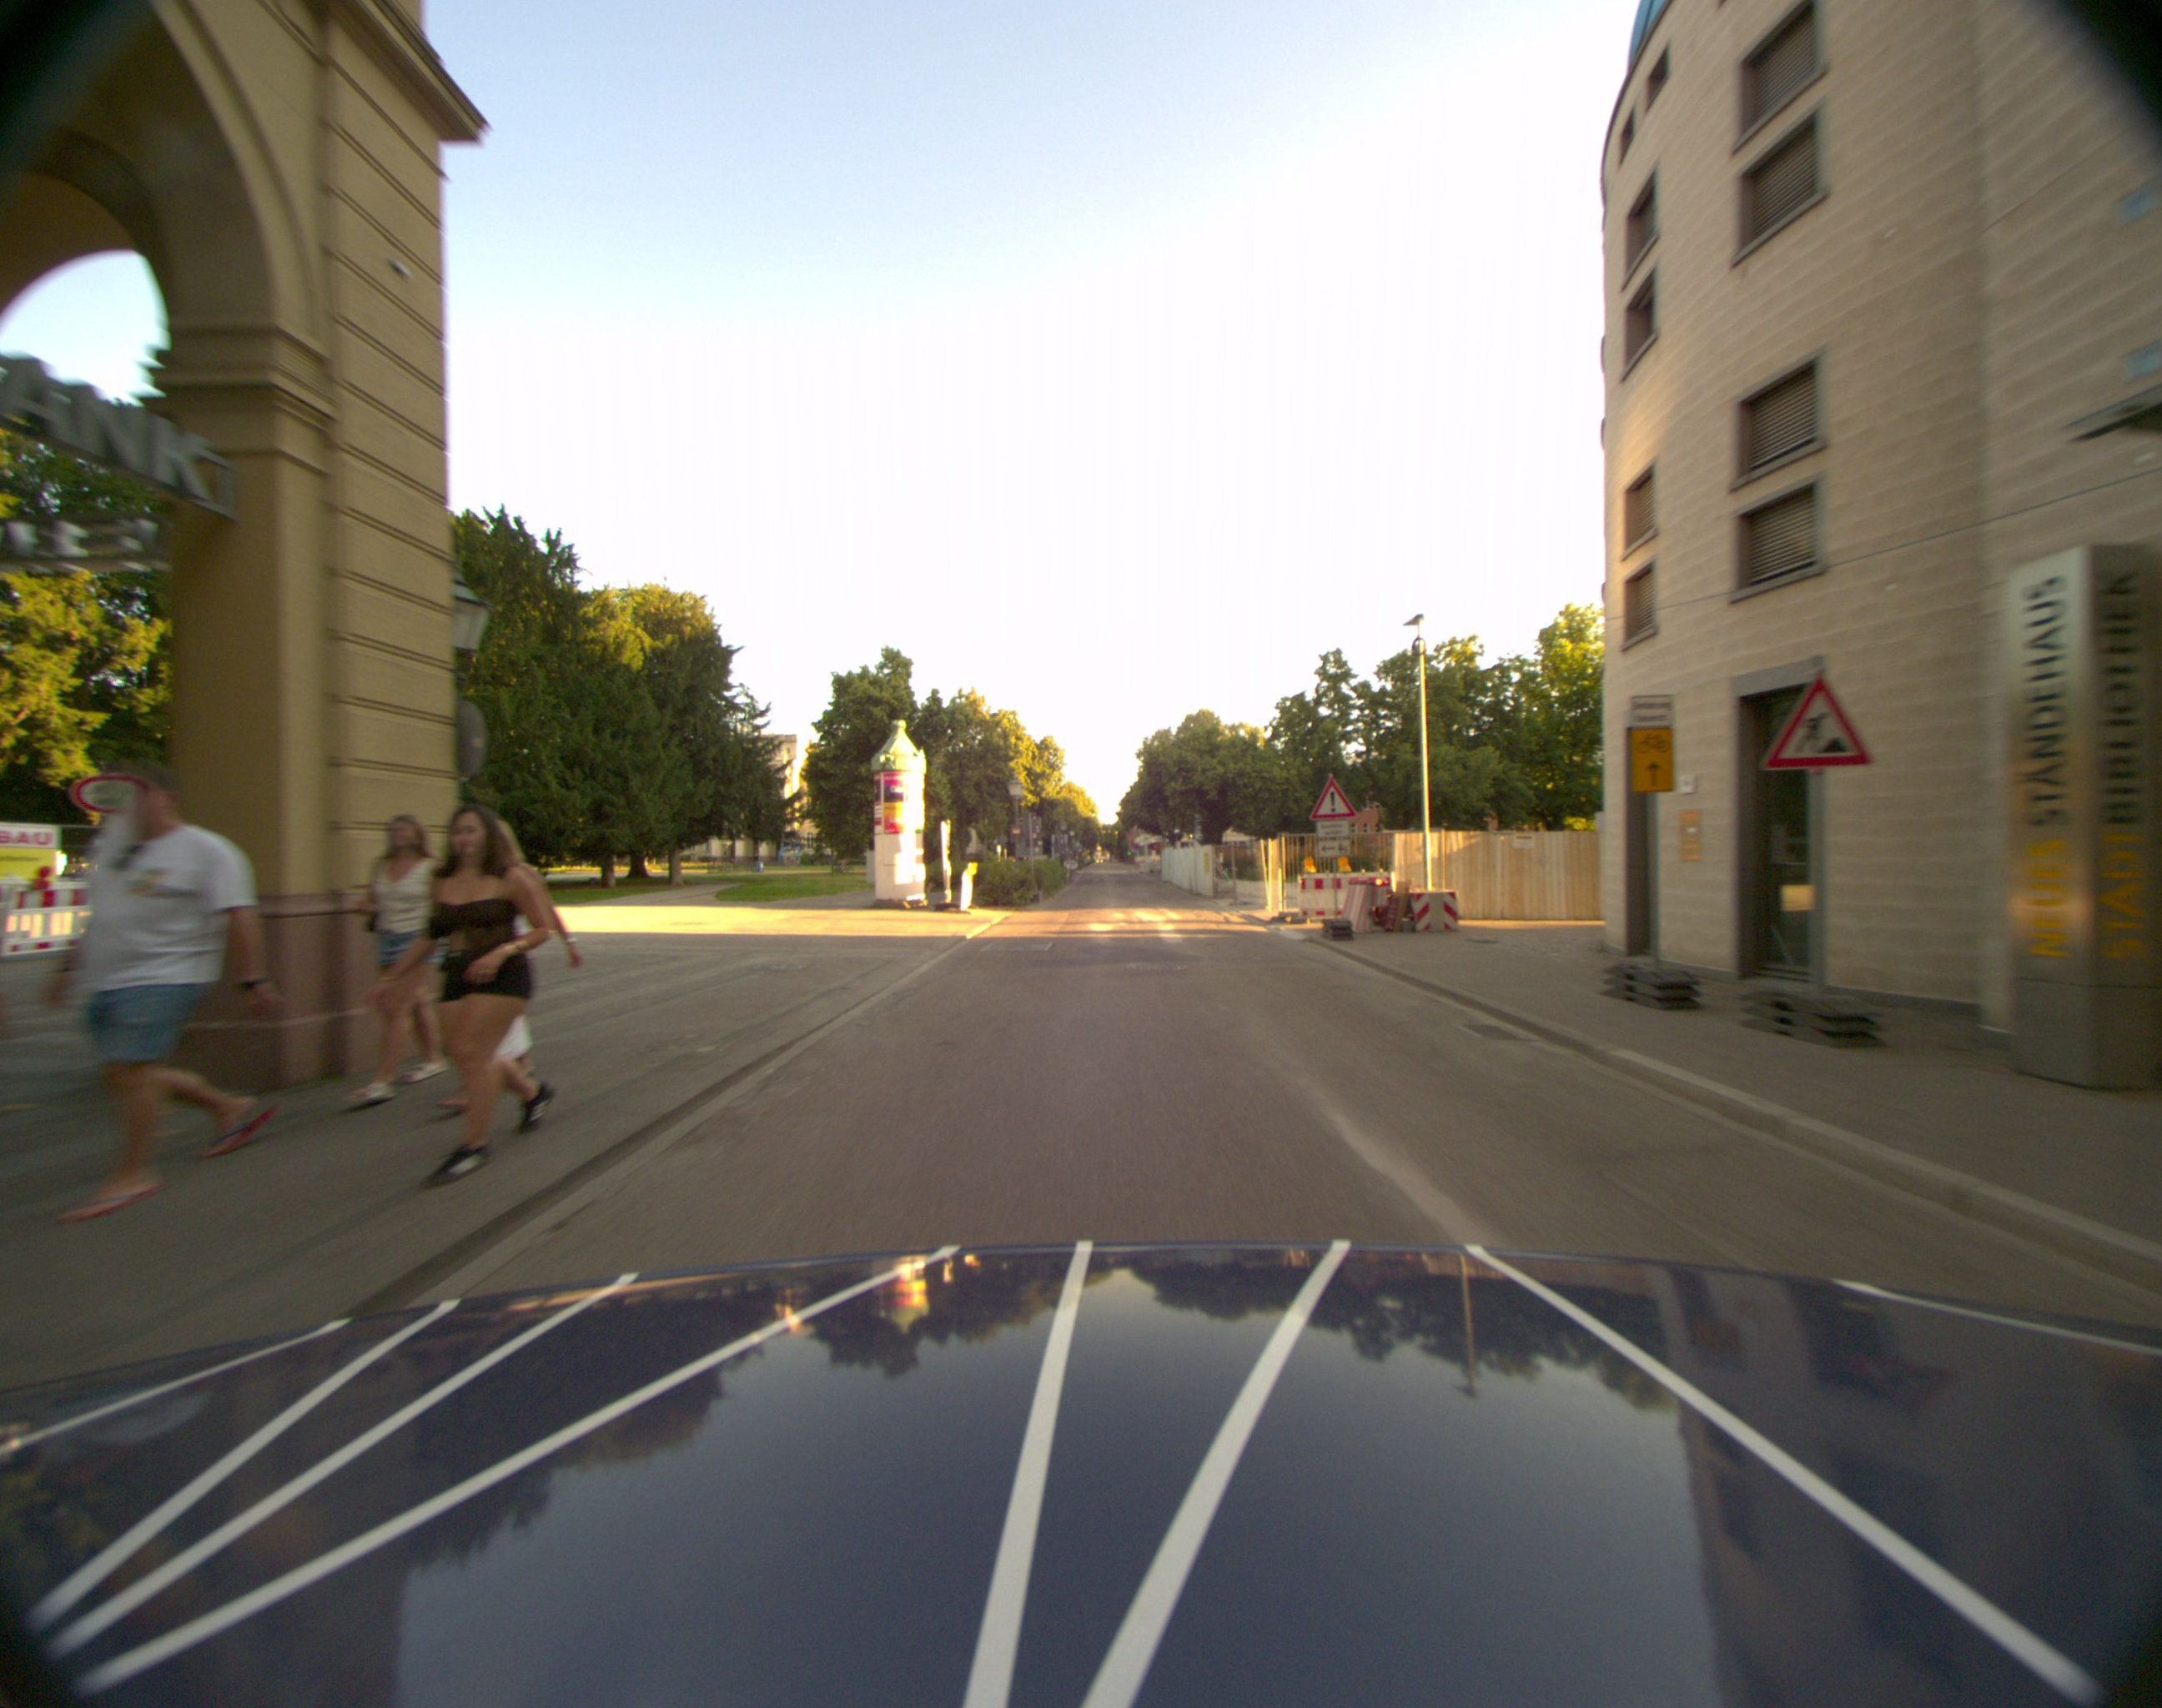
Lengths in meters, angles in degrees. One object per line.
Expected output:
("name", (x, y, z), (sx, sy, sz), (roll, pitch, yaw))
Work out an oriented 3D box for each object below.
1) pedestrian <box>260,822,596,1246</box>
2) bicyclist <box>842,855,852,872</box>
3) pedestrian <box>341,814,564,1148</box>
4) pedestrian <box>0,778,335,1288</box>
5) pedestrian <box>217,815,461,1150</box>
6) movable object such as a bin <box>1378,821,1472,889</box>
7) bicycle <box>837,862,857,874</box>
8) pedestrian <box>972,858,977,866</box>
("pedestrian", (-2.940, 0.735, 3.535), (0.777, 1.736, 0.875), (0, 1, 1))
("bicyclist", (-22.155, 0.877, 71.919), (0.678, 1.622, 0.657), (0, 1, -33))
("pedestrian", (-3.622, 0.679, 4.451), (0.638, 1.793, 0.772), (0, 1, 1))
("pedestrian", (-4.005, 0.654, 3.207), (0.814, 1.864, 0.875), (0, 1, 1))
("pedestrian", (-4.277, 0.688, 4.446), (0.638, 1.793, 0.772), (0, 1, 1))
("movable object such as a bin", (13.796, 0.039, 30.609), (2.161, 2.588, 2.743), (-1, 1, -21))
("bicycle", (-22.139, 1.307, 71.921), (1.778, 1.170, 0.564), (0, 1, -33))
("pedestrian", (-16.176, 1.191, 115.123), (0.605, 1.195, 0.394), (-1, 1, -39))
